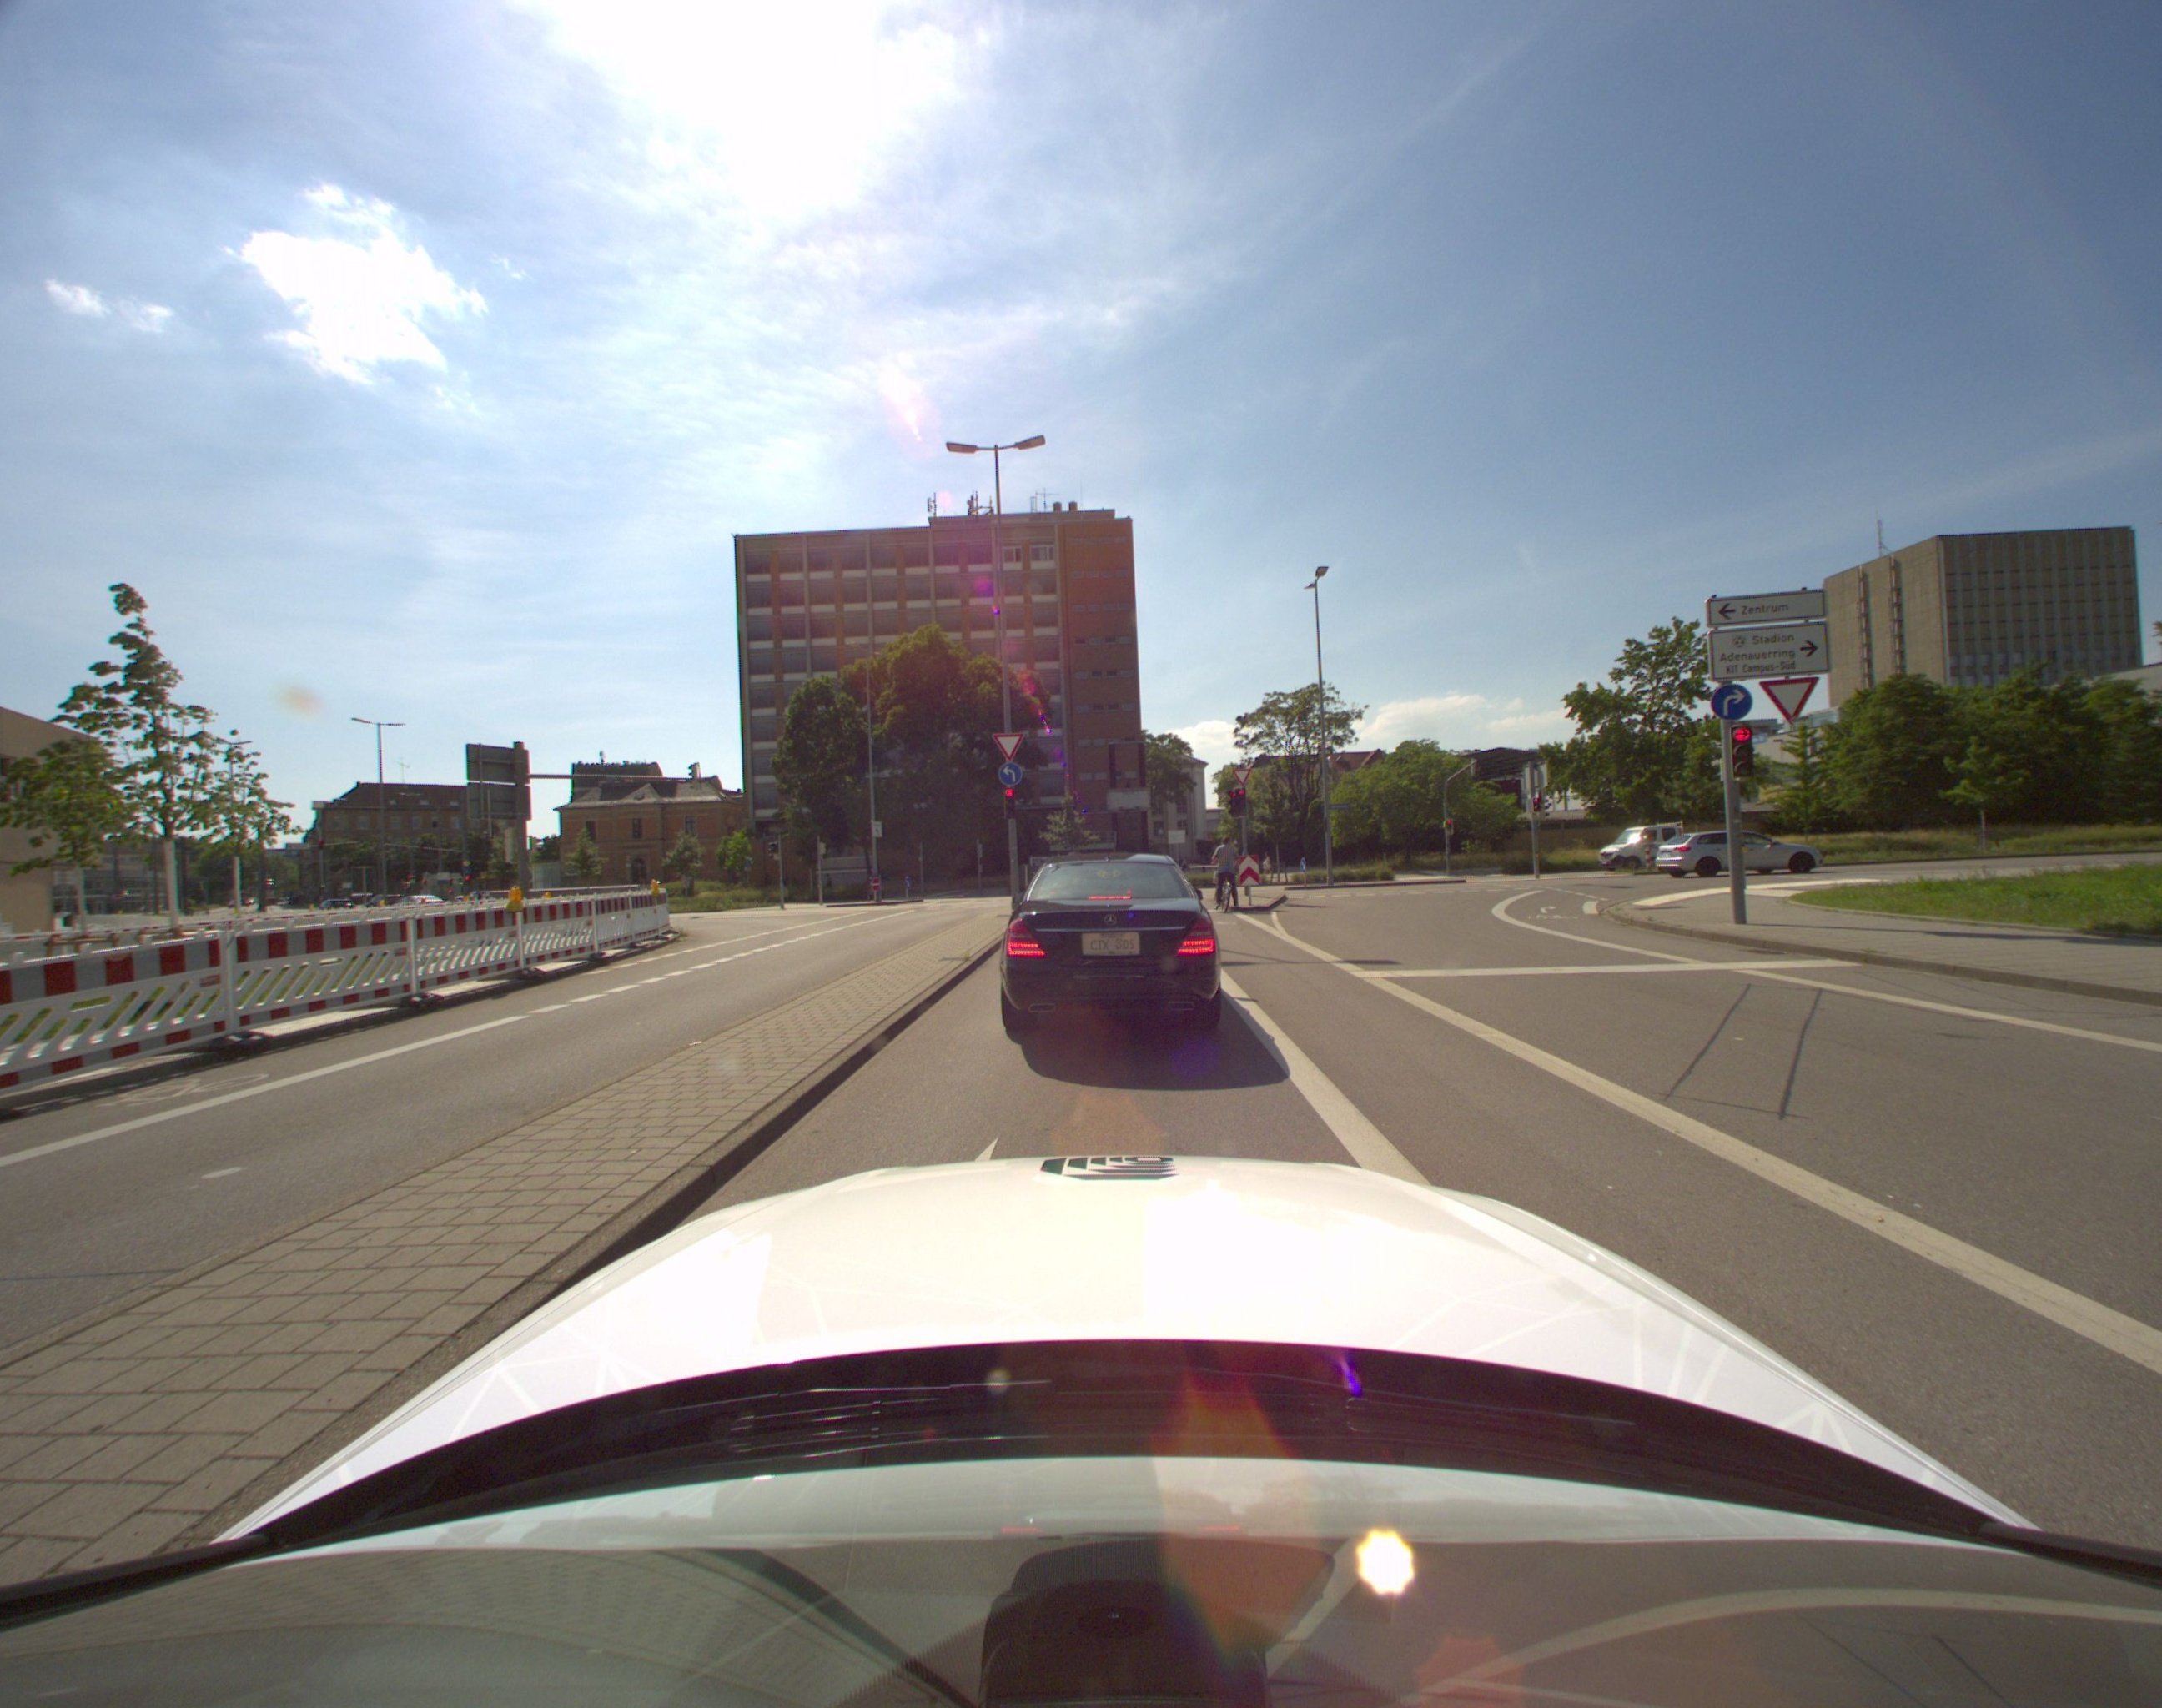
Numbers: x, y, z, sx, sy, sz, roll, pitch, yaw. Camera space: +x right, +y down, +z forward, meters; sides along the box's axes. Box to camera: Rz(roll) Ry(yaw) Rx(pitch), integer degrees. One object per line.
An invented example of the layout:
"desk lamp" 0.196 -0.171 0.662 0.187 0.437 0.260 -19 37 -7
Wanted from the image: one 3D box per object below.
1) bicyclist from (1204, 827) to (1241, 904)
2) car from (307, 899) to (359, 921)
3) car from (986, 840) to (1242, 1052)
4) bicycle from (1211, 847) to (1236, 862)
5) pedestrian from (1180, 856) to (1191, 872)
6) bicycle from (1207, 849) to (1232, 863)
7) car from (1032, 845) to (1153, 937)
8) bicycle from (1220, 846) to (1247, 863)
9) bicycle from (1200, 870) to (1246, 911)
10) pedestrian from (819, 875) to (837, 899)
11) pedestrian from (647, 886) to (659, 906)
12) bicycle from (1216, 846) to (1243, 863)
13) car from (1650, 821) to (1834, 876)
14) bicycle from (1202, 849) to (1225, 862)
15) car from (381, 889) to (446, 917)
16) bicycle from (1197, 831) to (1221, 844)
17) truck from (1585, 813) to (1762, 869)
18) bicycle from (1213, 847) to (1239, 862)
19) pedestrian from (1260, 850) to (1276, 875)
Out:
"bicyclist" 3.576 0.289 20.643 0.684 1.878 0.858 -1 -1 -5
"car" -55.543 4.158 60.459 3.948 1.510 1.811 -3 -1 32
"car" 0.261 0.694 8.331 1.852 1.530 4.713 -1 -1 0
"bicycle" 16.830 0.059 96.119 2.813 1.659 0.842 -3 1 1
"pedestrian" 8.182 0.785 63.740 0.788 1.214 0.759 -1 -1 8
"bicycle" 16.646 0.235 98.133 2.813 1.537 0.842 -3 0 1
"car" 0.252 0.623 15.386 1.986 1.508 4.001 0 -1 2
"bicycle" 17.105 0.045 91.305 2.813 1.836 0.842 -3 0 1
"bicycle" 3.586 0.900 20.667 0.691 0.946 1.955 0 -1 -4
"pedestrian" -18.256 2.373 58.864 0.790 1.725 0.878 -3 -1 24
"pedestrian" -35.518 3.459 67.566 0.642 1.661 0.654 -1 -1 28
"bicycle" 17.042 0.086 93.567 2.813 1.744 0.842 -3 0 1
"car" 20.224 -0.171 25.079 4.134 1.420 1.588 -3 0 8
"bicycle" 16.969 0.238 104.339 2.813 1.500 0.842 -3 0 1
"car" -48.015 3.526 58.579 3.951 1.816 2.011 -3 -1 24
"bicycle" 15.998 -2.057 102.030 2.813 1.559 0.842 -3 0 1
"truck" 29.818 -0.628 41.172 6.997 2.355 2.415 -3 0 2
"bicycle" 16.838 0.083 94.867 2.813 1.649 0.842 -3 0 1
"pedestrian" 11.934 0.545 52.074 0.807 1.579 0.693 -3 -1 3
